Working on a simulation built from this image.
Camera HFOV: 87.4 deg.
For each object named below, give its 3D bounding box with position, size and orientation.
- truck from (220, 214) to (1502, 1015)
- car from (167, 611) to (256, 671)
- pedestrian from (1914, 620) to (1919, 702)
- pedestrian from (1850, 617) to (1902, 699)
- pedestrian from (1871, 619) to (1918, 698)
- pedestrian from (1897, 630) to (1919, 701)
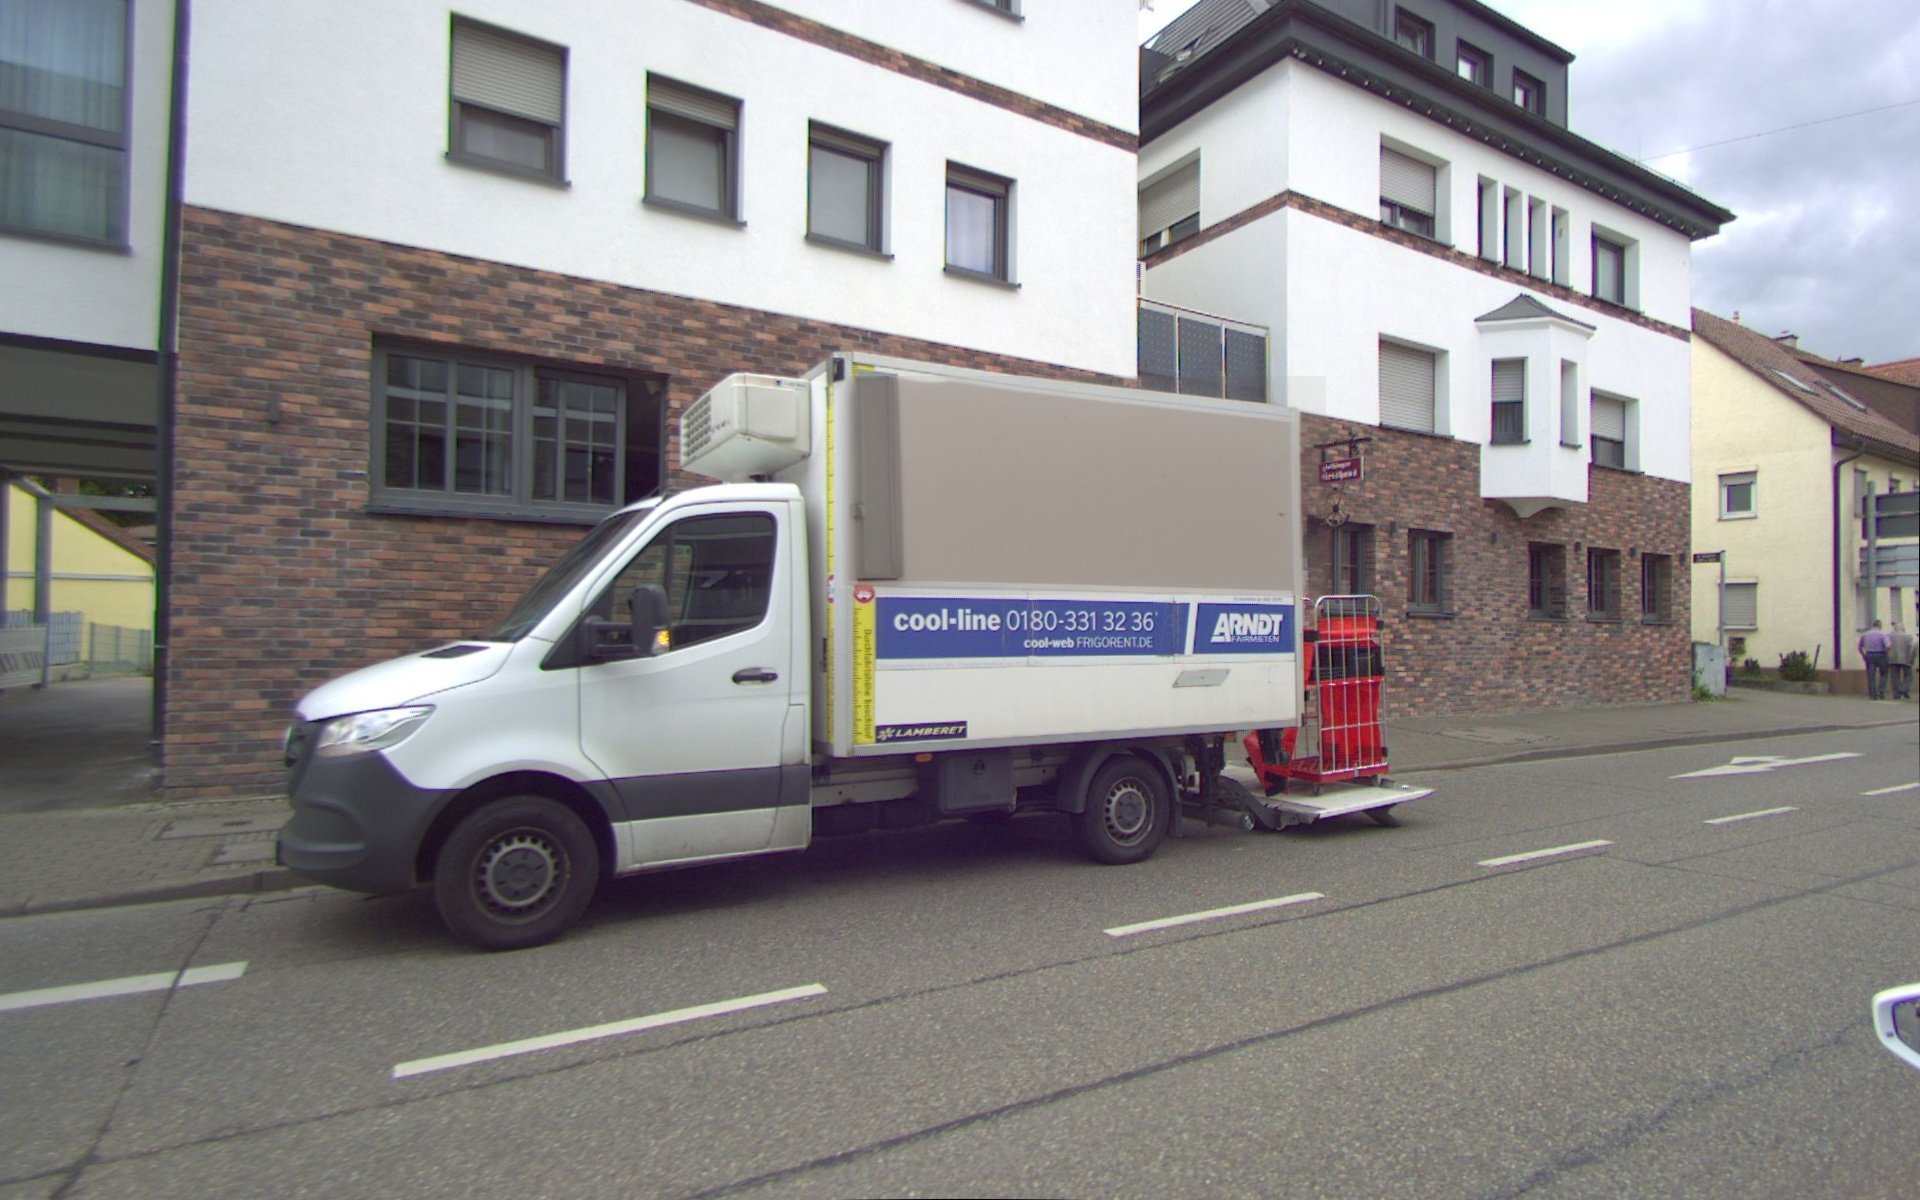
[{"bbox_3d":[0.198,0.190,6.952,8.269,2.992,2.423,2,-3,-31],"label":"truck"},{"bbox_3d":[-21.039,1.120,28.367,1.733,1.560,3.964,2,-2,-33],"label":"car"},{"bbox_3d":[21.416,1.351,21.925,0.679,1.780,0.659,1,1,-30],"label":"pedestrian"},{"bbox_3d":[20.573,1.280,22.562,0.679,1.780,0.645,1,1,-30],"label":"pedestrian"},{"bbox_3d":[21.595,1.347,23.217,0.679,1.780,0.576,1,1,-30],"label":"pedestrian"},{"bbox_3d":[21.445,1.465,22.543,0.547,1.546,0.424,1,1,-30],"label":"pedestrian"}]
